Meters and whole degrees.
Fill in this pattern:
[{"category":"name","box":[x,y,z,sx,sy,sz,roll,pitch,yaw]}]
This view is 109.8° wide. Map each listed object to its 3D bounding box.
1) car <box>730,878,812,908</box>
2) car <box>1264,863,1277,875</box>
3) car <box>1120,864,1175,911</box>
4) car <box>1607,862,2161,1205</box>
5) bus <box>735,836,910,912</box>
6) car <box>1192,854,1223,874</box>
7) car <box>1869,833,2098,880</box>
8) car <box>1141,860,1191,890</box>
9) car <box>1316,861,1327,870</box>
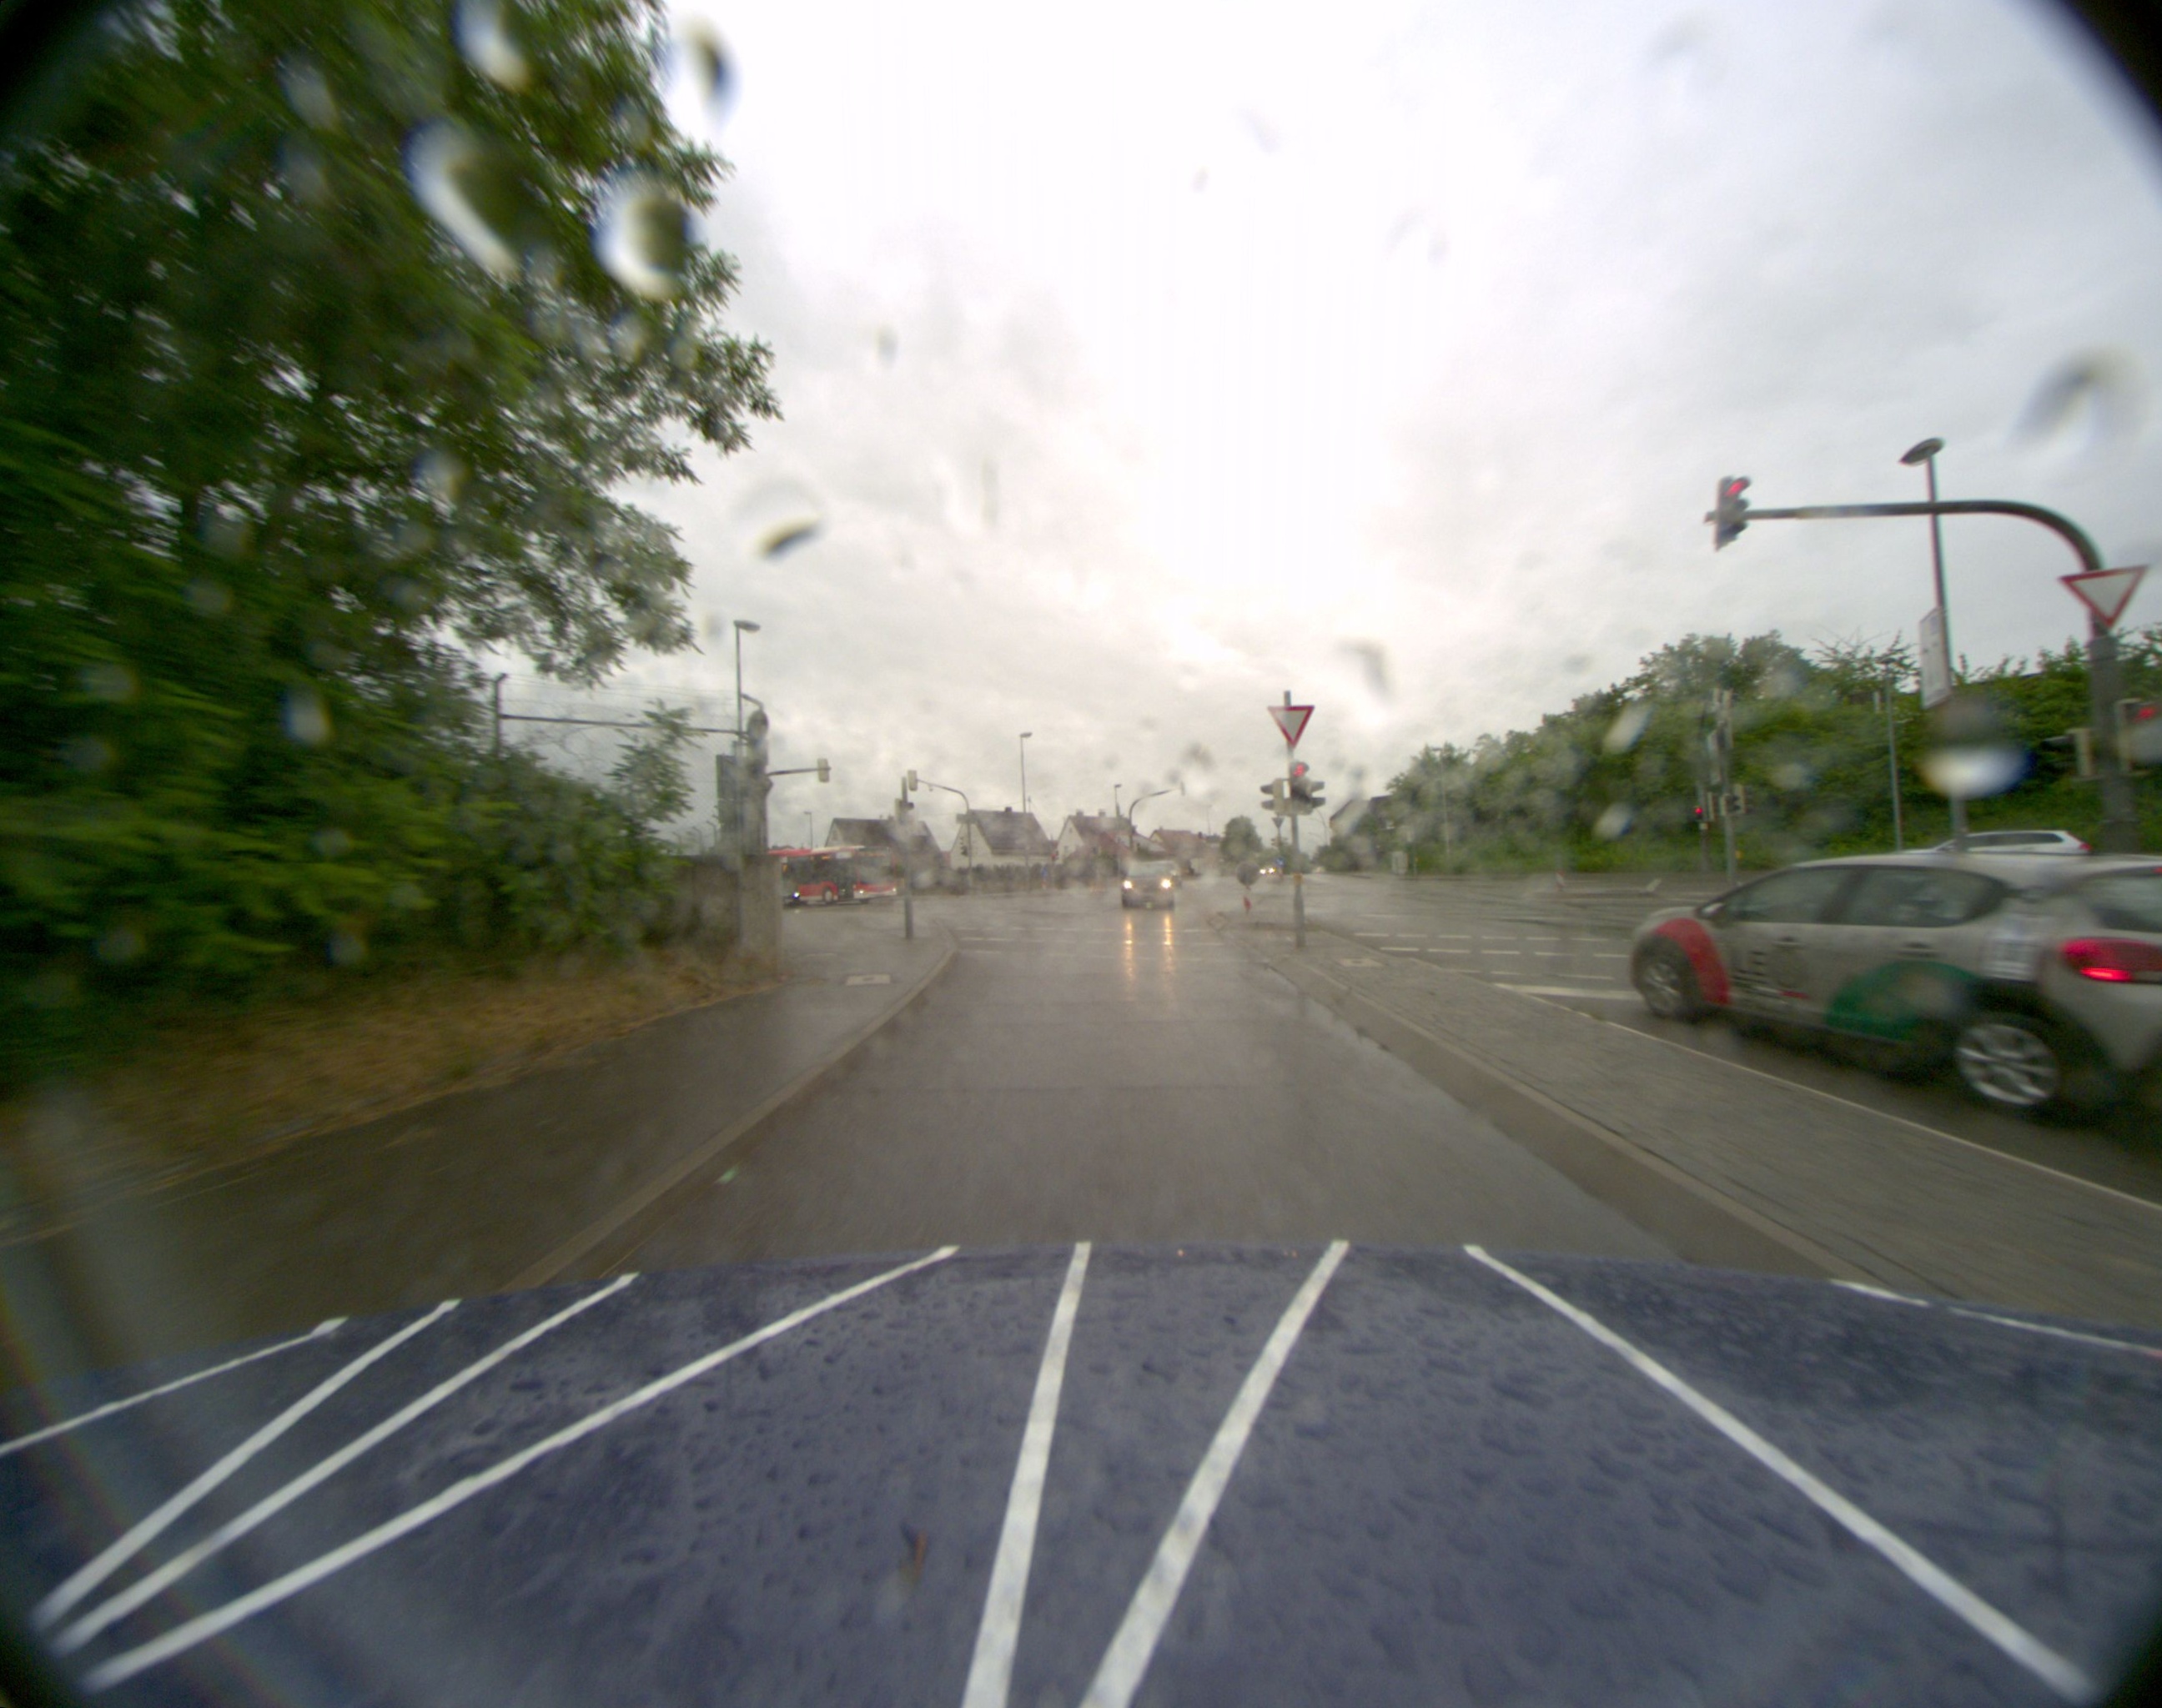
[{"category":"car","box":[-16.377,2.071,40.074,4.580,1.459,1.906,-3,-1,37]},{"category":"car","box":[26.659,2.116,106.782,1.755,1.547,3.924,-2,-1,14]},{"category":"car","box":[2.330,1.082,25.882,1.665,1.409,3.935,-2,-1,7]},{"category":"car","box":[5.834,0.839,5.321,1.665,1.486,4.001,-1,0,3]},{"category":"bus","box":[-14.991,1.252,43.210,12.261,3.554,2.992,-5,-2,38]},{"category":"car","box":[15.949,1.273,95.477,4.008,2.336,1.650,-1,-1,-44]},{"category":"car","box":[29.184,0.098,24.834,4.520,1.355,1.766,-2,0,37]},{"category":"car","box":[4.573,1.125,40.487,1.896,1.473,4.006,-2,-1,17]},{"category":"car","box":[43.265,2.107,136.887,1.623,1.496,3.827,-1,-1,14]}]
